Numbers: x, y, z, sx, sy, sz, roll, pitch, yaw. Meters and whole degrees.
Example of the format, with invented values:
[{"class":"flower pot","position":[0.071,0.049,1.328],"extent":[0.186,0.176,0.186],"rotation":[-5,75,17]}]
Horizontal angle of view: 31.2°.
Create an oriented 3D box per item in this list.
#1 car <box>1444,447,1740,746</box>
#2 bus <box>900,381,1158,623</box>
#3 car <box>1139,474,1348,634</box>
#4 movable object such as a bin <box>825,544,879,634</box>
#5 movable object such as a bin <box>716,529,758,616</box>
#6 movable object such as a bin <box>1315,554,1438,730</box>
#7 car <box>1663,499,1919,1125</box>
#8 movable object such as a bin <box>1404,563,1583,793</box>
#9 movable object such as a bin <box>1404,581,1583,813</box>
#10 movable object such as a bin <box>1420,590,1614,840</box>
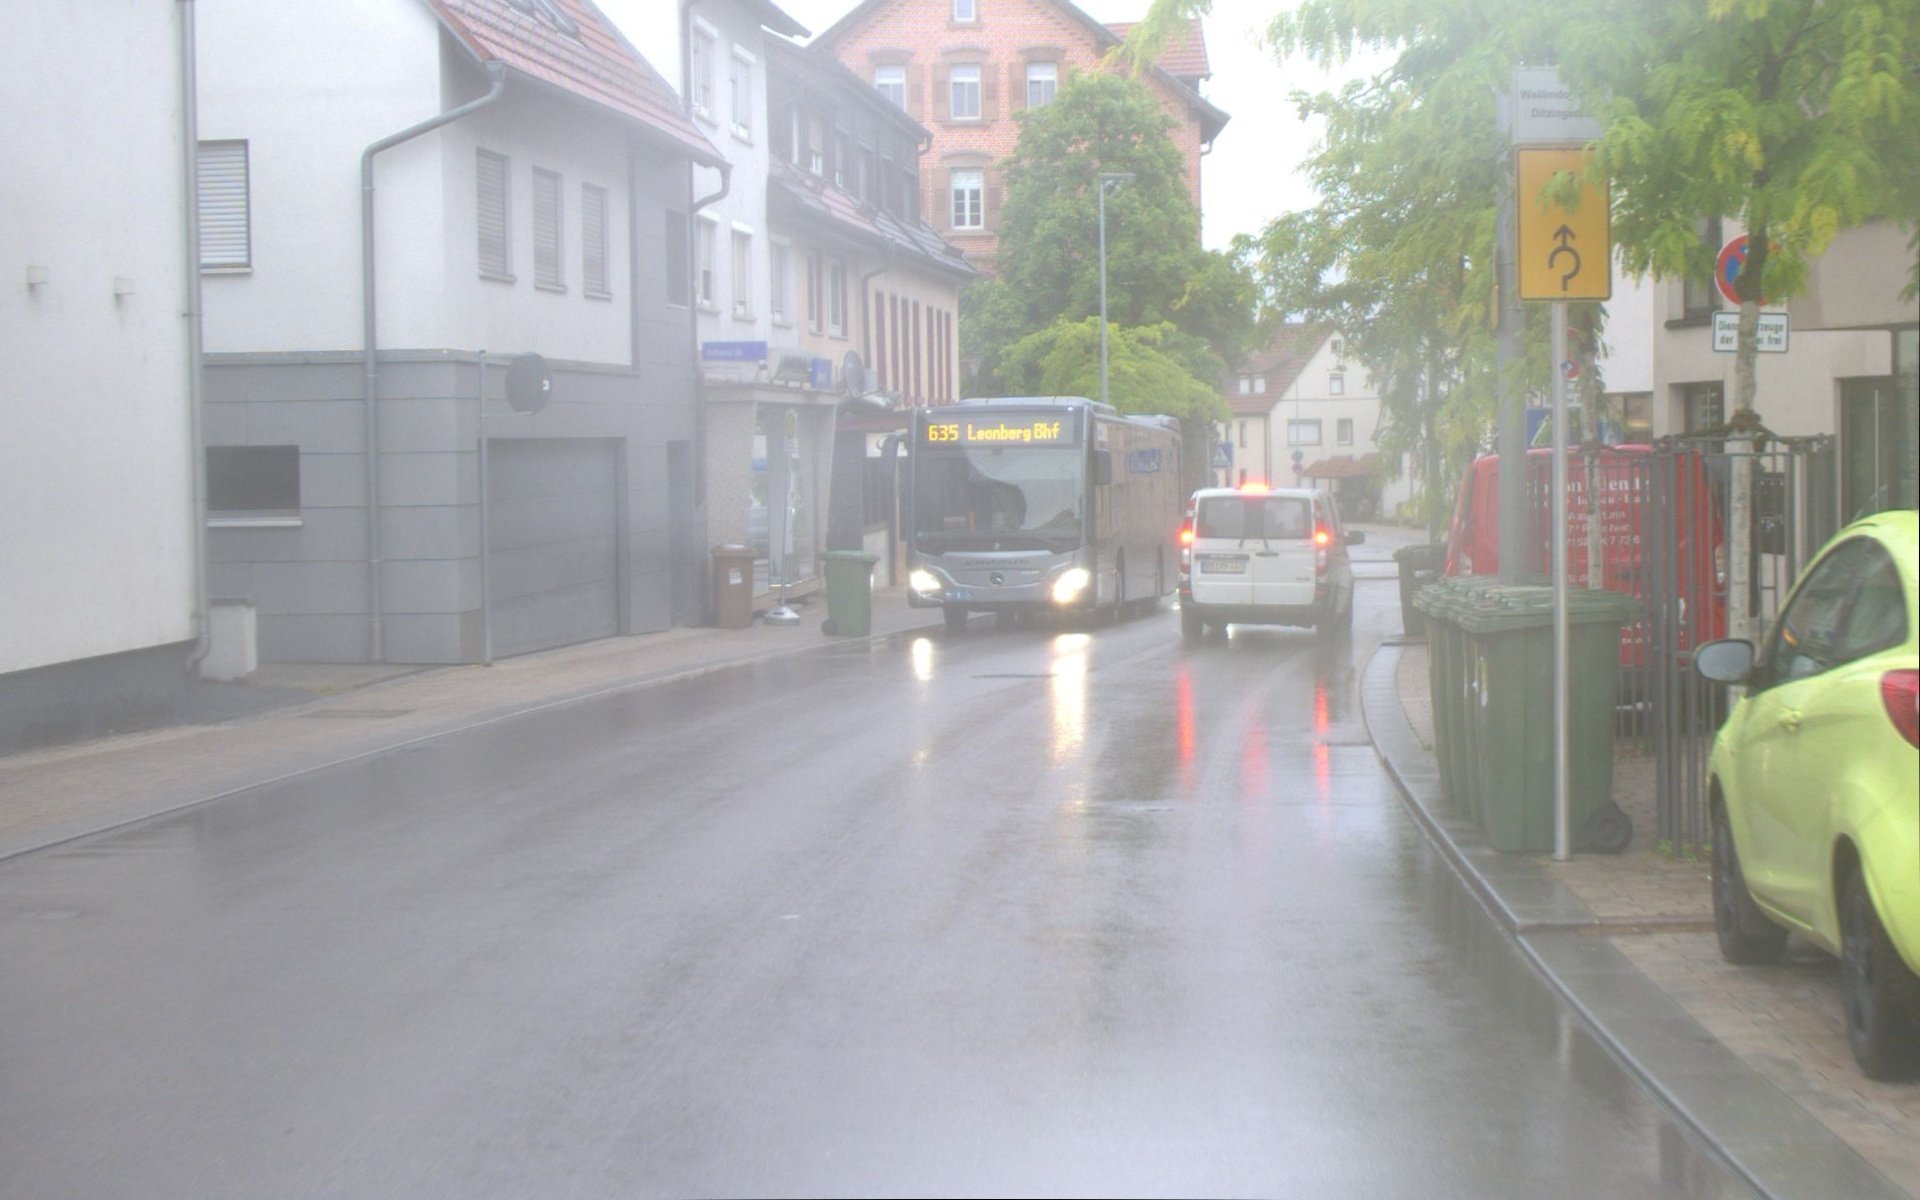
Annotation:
[{"class":"car","position":[4.063,-0.051,22.354],"extent":[1.712,1.756,3.999],"rotation":[-1,1,9]},{"class":"bus","position":[1.152,-1.349,49.296],"extent":[2.740,3.119,9.231],"rotation":[-1,1,7]},{"class":"car","position":[3.596,-0.592,42.894],"extent":[2.196,1.845,4.303],"rotation":[-1,1,10]},{"class":"movable object such as a bin","position":[-1.361,-0.138,43.374],"extent":[0.633,1.118,0.520],"rotation":[-1,1,3]},{"class":"movable object such as a bin","position":[-2.897,-0.358,44.701],"extent":[0.518,1.118,0.636],"rotation":[-1,1,-1]},{"class":"movable object such as a bin","position":[2.881,0.278,23.737],"extent":[0.810,1.181,0.985],"rotation":[-1,1,8]},{"class":"car","position":[3.136,0.451,9.996],"extent":[1.603,1.479,3.301],"rotation":[-3,2,3]},{"class":"movable object such as a bin","position":[2.655,0.374,17.208],"extent":[0.810,1.105,0.986],"rotation":[-1,1,5]},{"class":"movable object such as a bin","position":[2.641,0.467,17.108],"extent":[0.810,1.105,0.986],"rotation":[-1,1,5]},{"class":"movable object such as a bin","position":[2.570,0.517,15.955],"extent":[0.810,1.105,0.986],"rotation":[-1,1,5]}]
